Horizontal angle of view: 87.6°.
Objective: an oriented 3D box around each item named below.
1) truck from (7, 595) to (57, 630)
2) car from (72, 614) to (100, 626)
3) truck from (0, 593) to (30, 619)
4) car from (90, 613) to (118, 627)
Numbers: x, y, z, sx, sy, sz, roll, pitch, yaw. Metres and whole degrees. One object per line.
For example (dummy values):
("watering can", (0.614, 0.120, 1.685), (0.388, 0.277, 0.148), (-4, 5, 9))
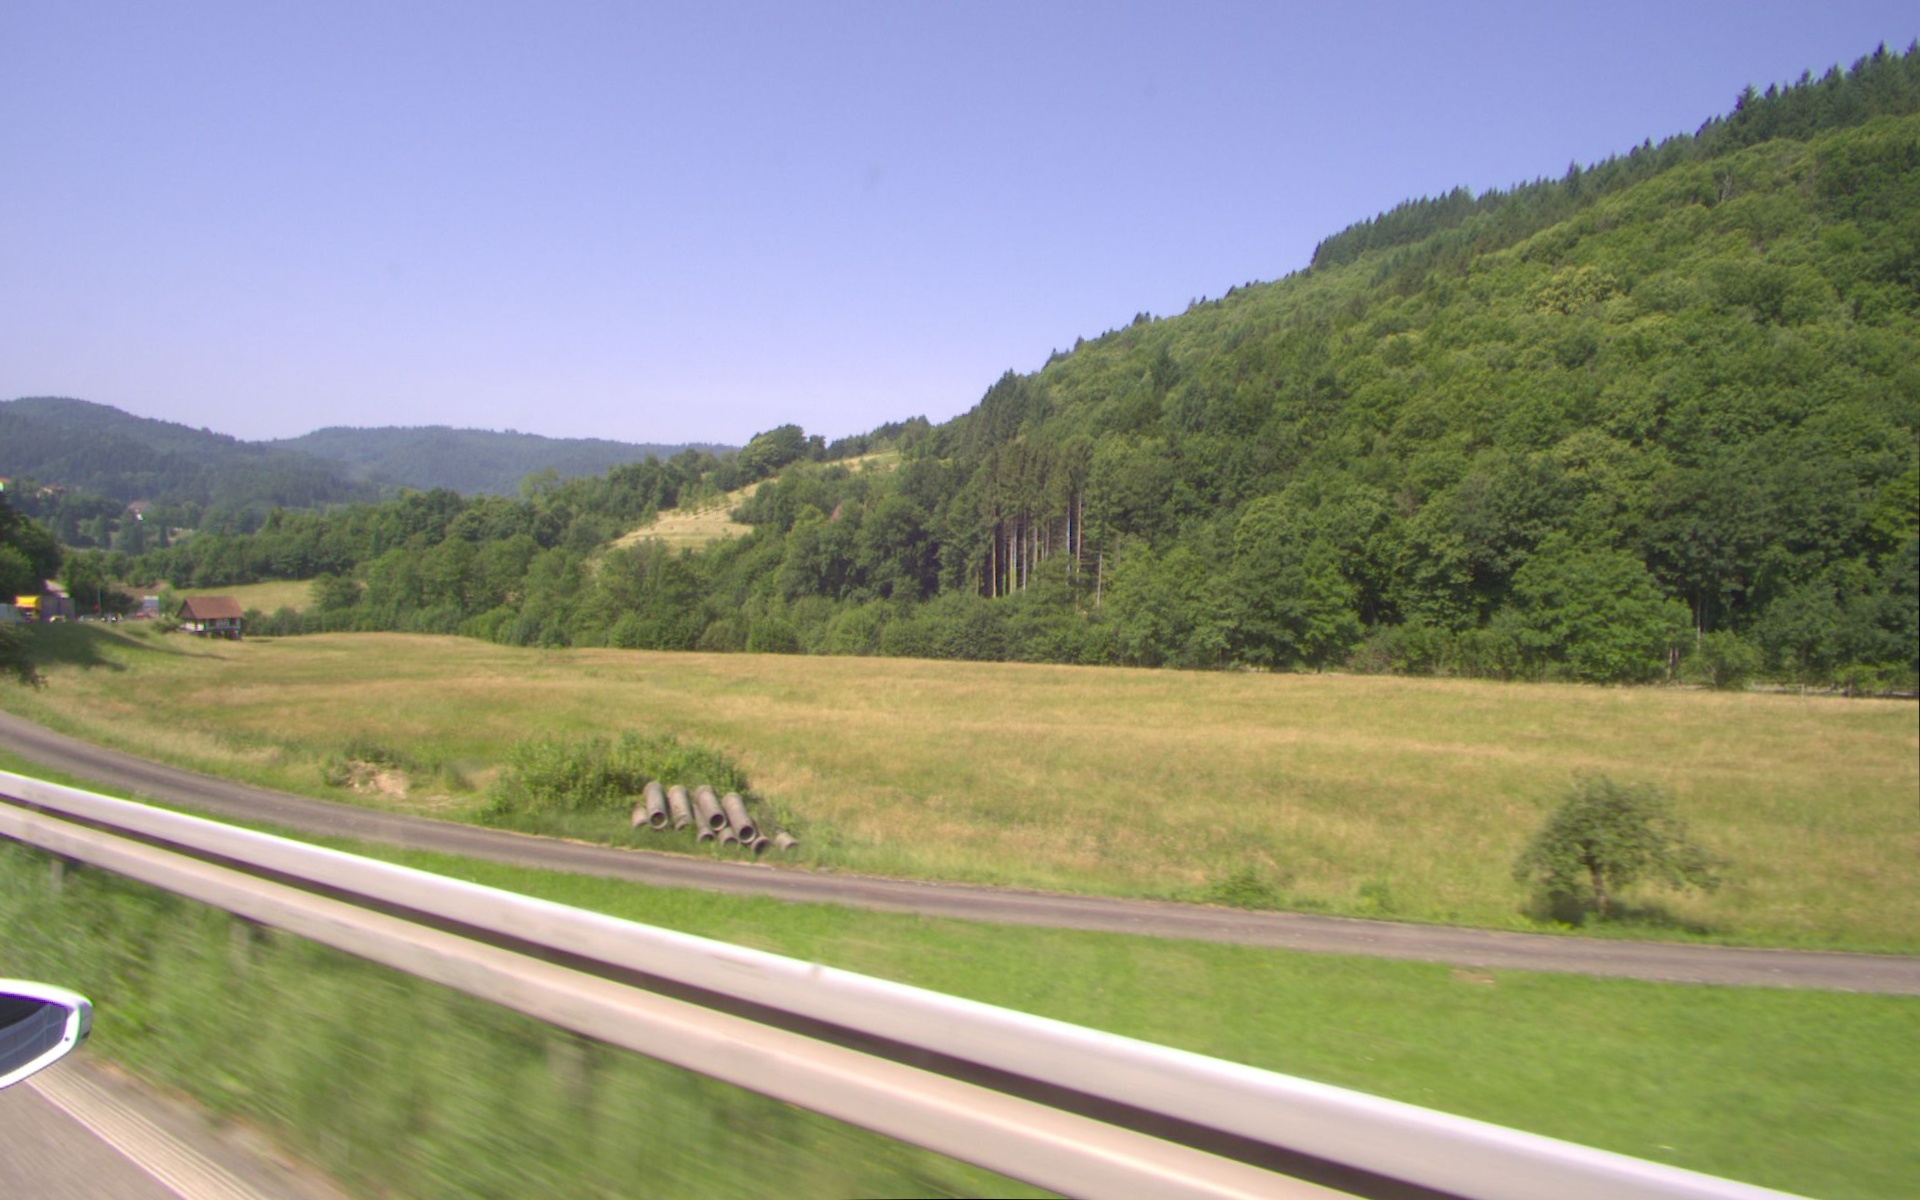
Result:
("truck", (-124.178, 1.629, 134.147), (3.151, 4.454, 6.541), (2, 0, -27))
("car", (-118.625, 2.750, 135.980), (1.884, 1.505, 3.983), (4, -2, -27))
("truck", (-108.832, 0.752, 114.515), (2.212, 2.839, 6.202), (1, -2, -29))
("car", (-123.108, 2.883, 143.974), (1.969, 1.950, 3.985), (2, -1, -25))
